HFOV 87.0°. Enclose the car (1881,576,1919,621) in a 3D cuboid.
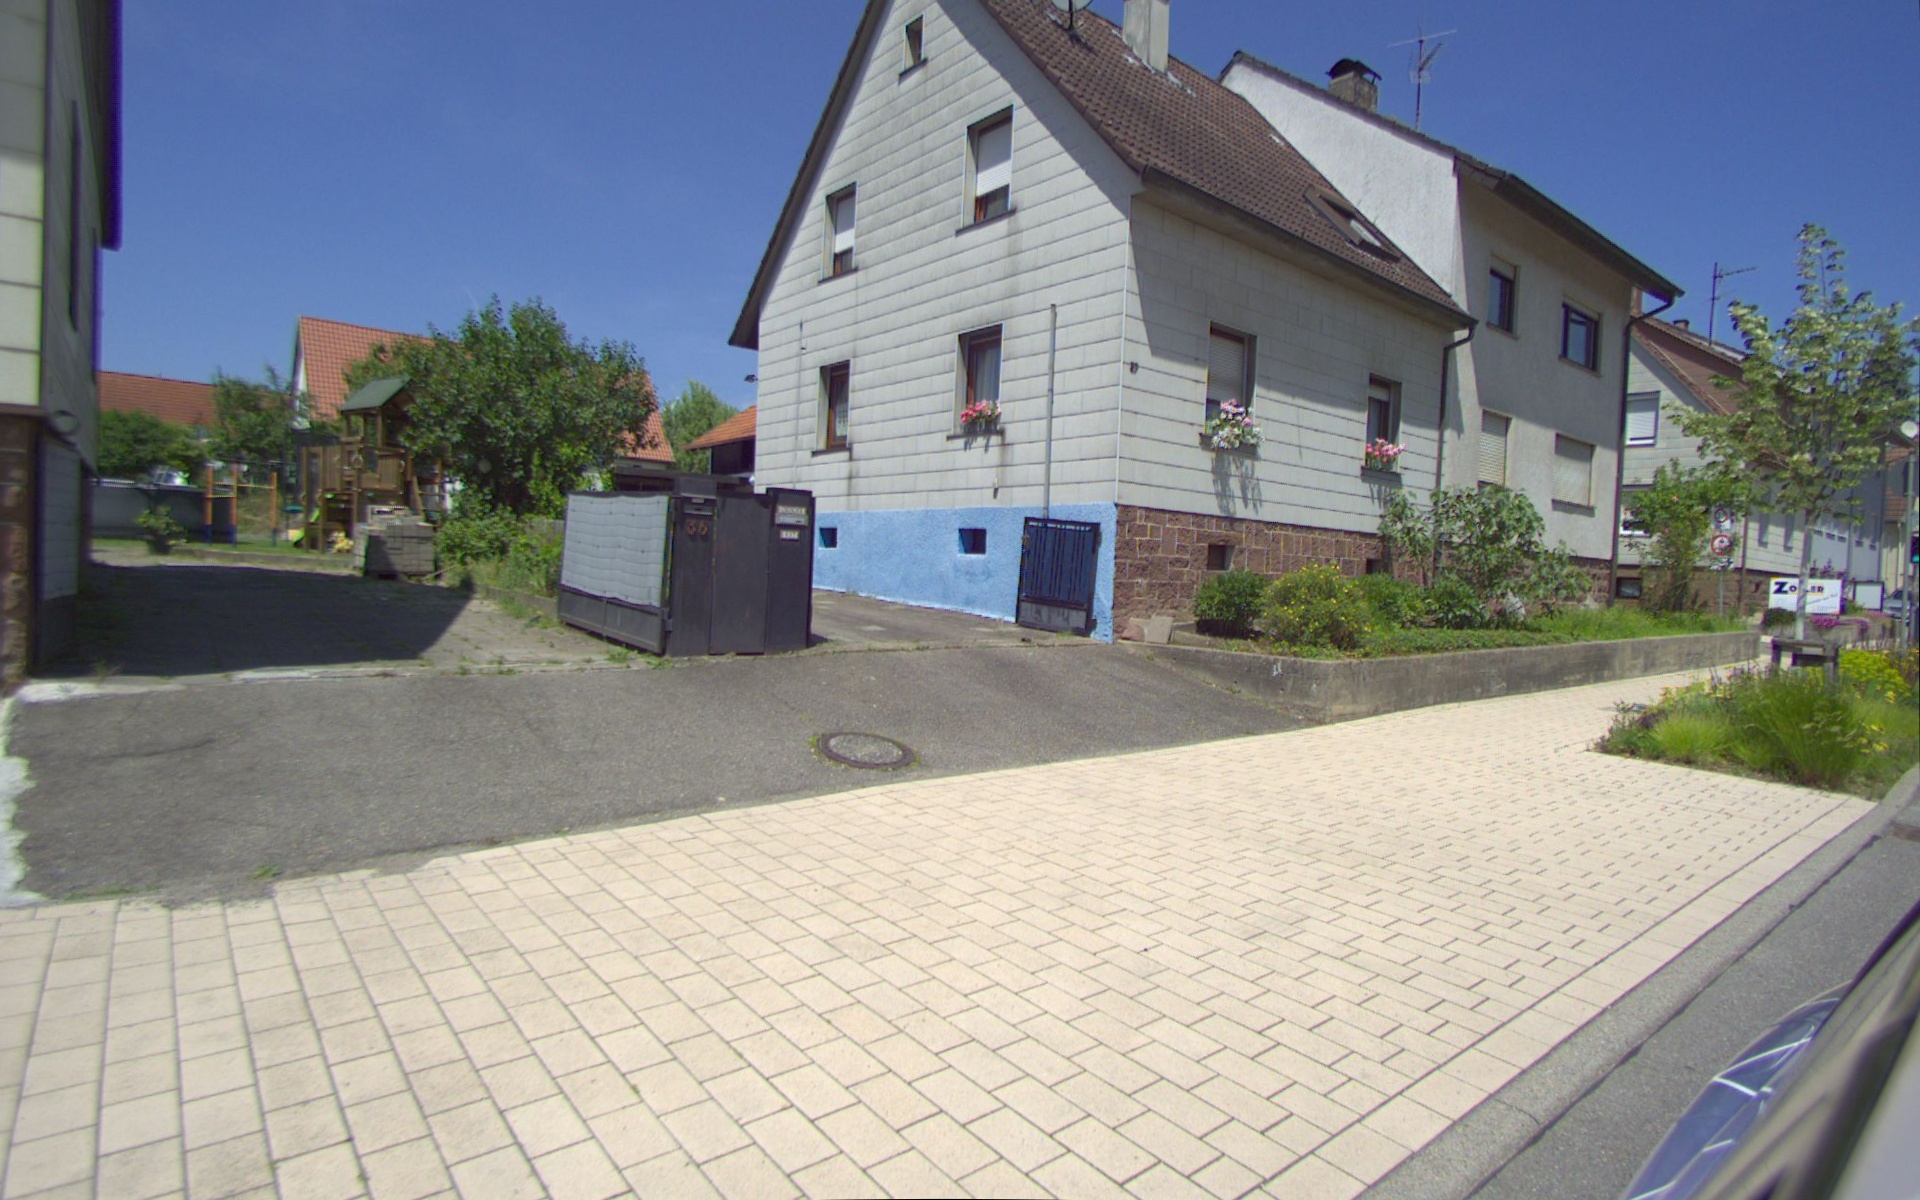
[{"bbox_3d":[39.124,-0.063,41.028,4.426,1.640,1.869,-1,6,-39],"label":"car"}]
